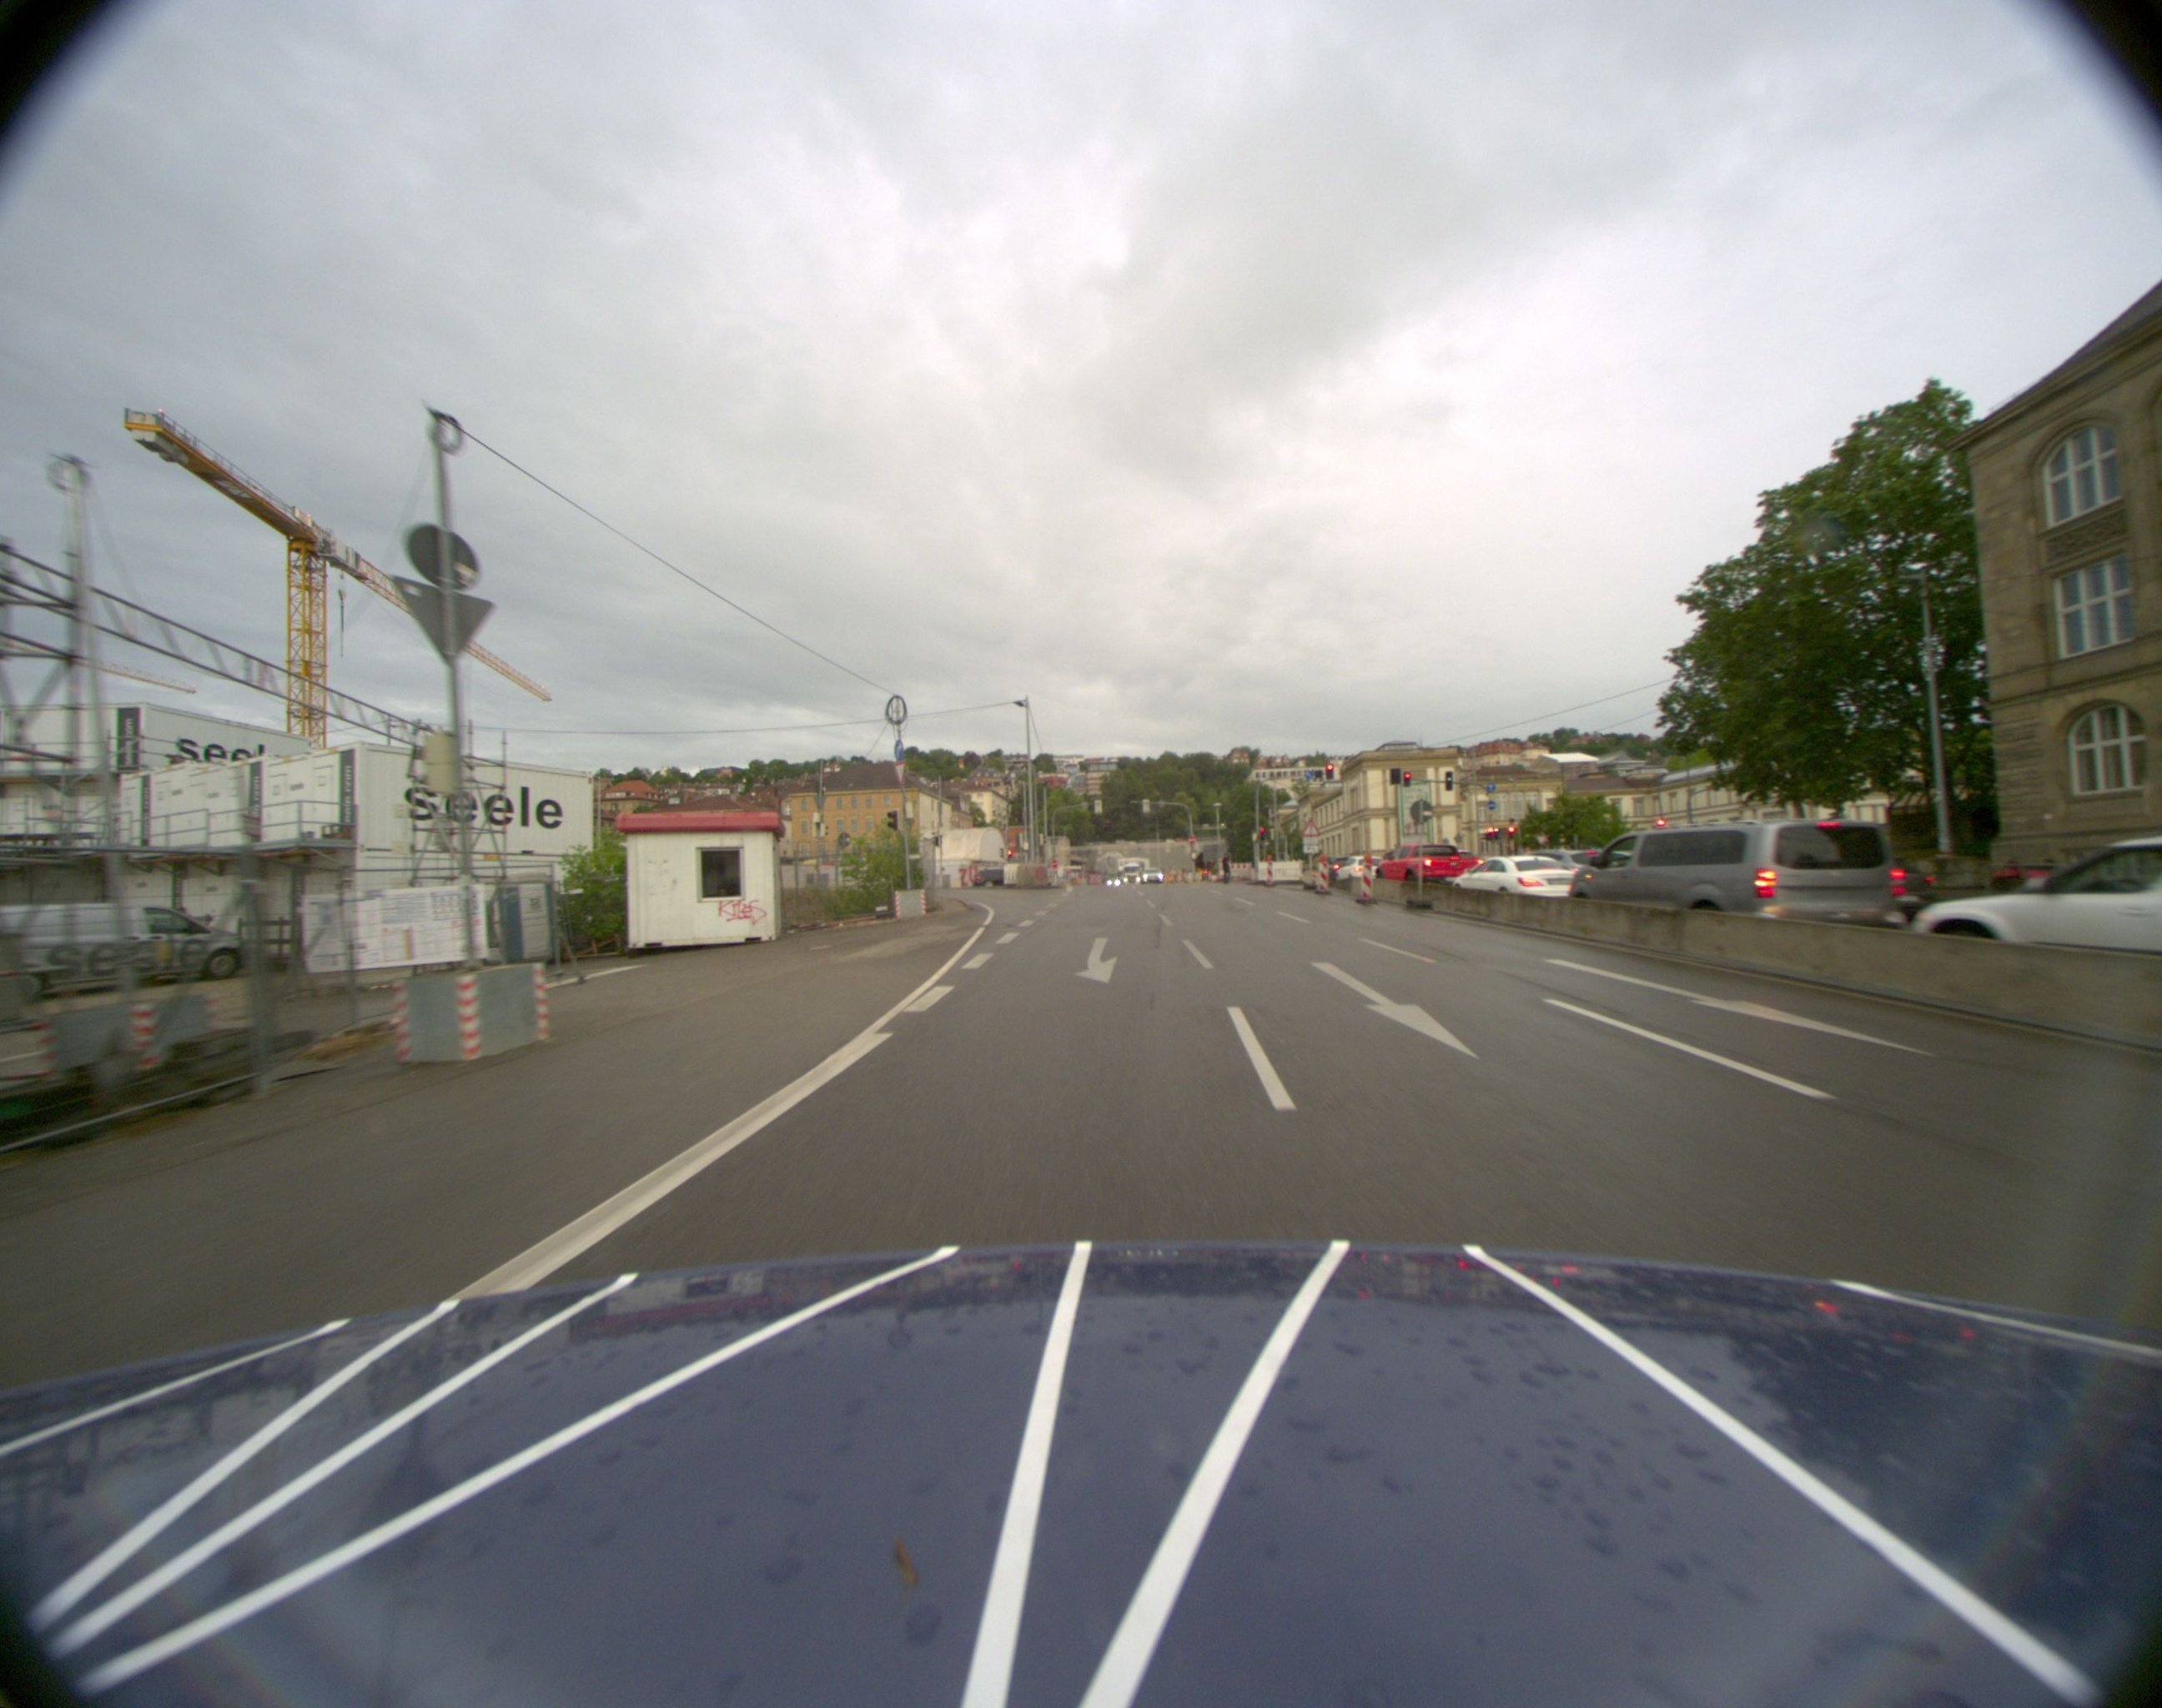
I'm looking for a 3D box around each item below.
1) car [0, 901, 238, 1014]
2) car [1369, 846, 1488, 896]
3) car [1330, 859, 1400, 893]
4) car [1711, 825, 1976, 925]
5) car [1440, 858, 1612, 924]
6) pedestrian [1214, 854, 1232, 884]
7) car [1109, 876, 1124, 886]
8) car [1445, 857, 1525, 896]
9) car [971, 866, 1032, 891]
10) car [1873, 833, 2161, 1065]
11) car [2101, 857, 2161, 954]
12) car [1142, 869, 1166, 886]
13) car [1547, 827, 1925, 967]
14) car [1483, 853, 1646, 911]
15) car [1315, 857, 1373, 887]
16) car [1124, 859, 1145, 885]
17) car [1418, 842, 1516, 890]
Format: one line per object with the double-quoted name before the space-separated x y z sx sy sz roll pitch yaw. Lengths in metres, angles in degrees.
"car" -20.876 2.015 15.599 2.018 1.890 4.654 0 -1 -1
"car" 11.793 0.540 26.250 1.998 1.558 5.384 0 0 4
"car" 13.052 0.965 35.210 1.997 1.462 4.563 0 0 6
"car" 17.056 0.424 17.337 1.999 2.002 4.000 0 0 -1
"car" 11.398 0.864 19.942 1.998 1.493 4.823 0 0 5
"pedestrian" 8.238 0.881 44.149 0.784 1.700 0.761 0 0 -16
"car" 5.806 4.406 124.648 1.997 1.462 4.349 0 0 8
"car" 19.737 1.040 37.310 1.784 1.800 4.000 0 0 -1
"car" -5.512 1.683 52.858 4.111 1.608 1.887 0 0 -6
"car" 9.639 0.759 6.263 1.913 1.855 4.381 0 0 5
"car" 16.373 0.730 9.370 1.998 1.374 4.212 0 0 2
"car" 7.070 2.243 73.927 1.998 1.561 4.000 0 0 0
"car" 10.405 0.579 12.899 1.998 1.855 5.598 0 0 5
"car" 15.051 0.808 24.018 1.999 1.638 4.613 0 0 -4
"car" 13.950 0.919 40.481 1.997 1.462 4.348 0 0 6
"car" 8.717 2.877 123.596 2.835 3.990 8.730 0 0 8
"car" 15.340 0.462 30.508 1.997 1.784 4.617 0 0 6
